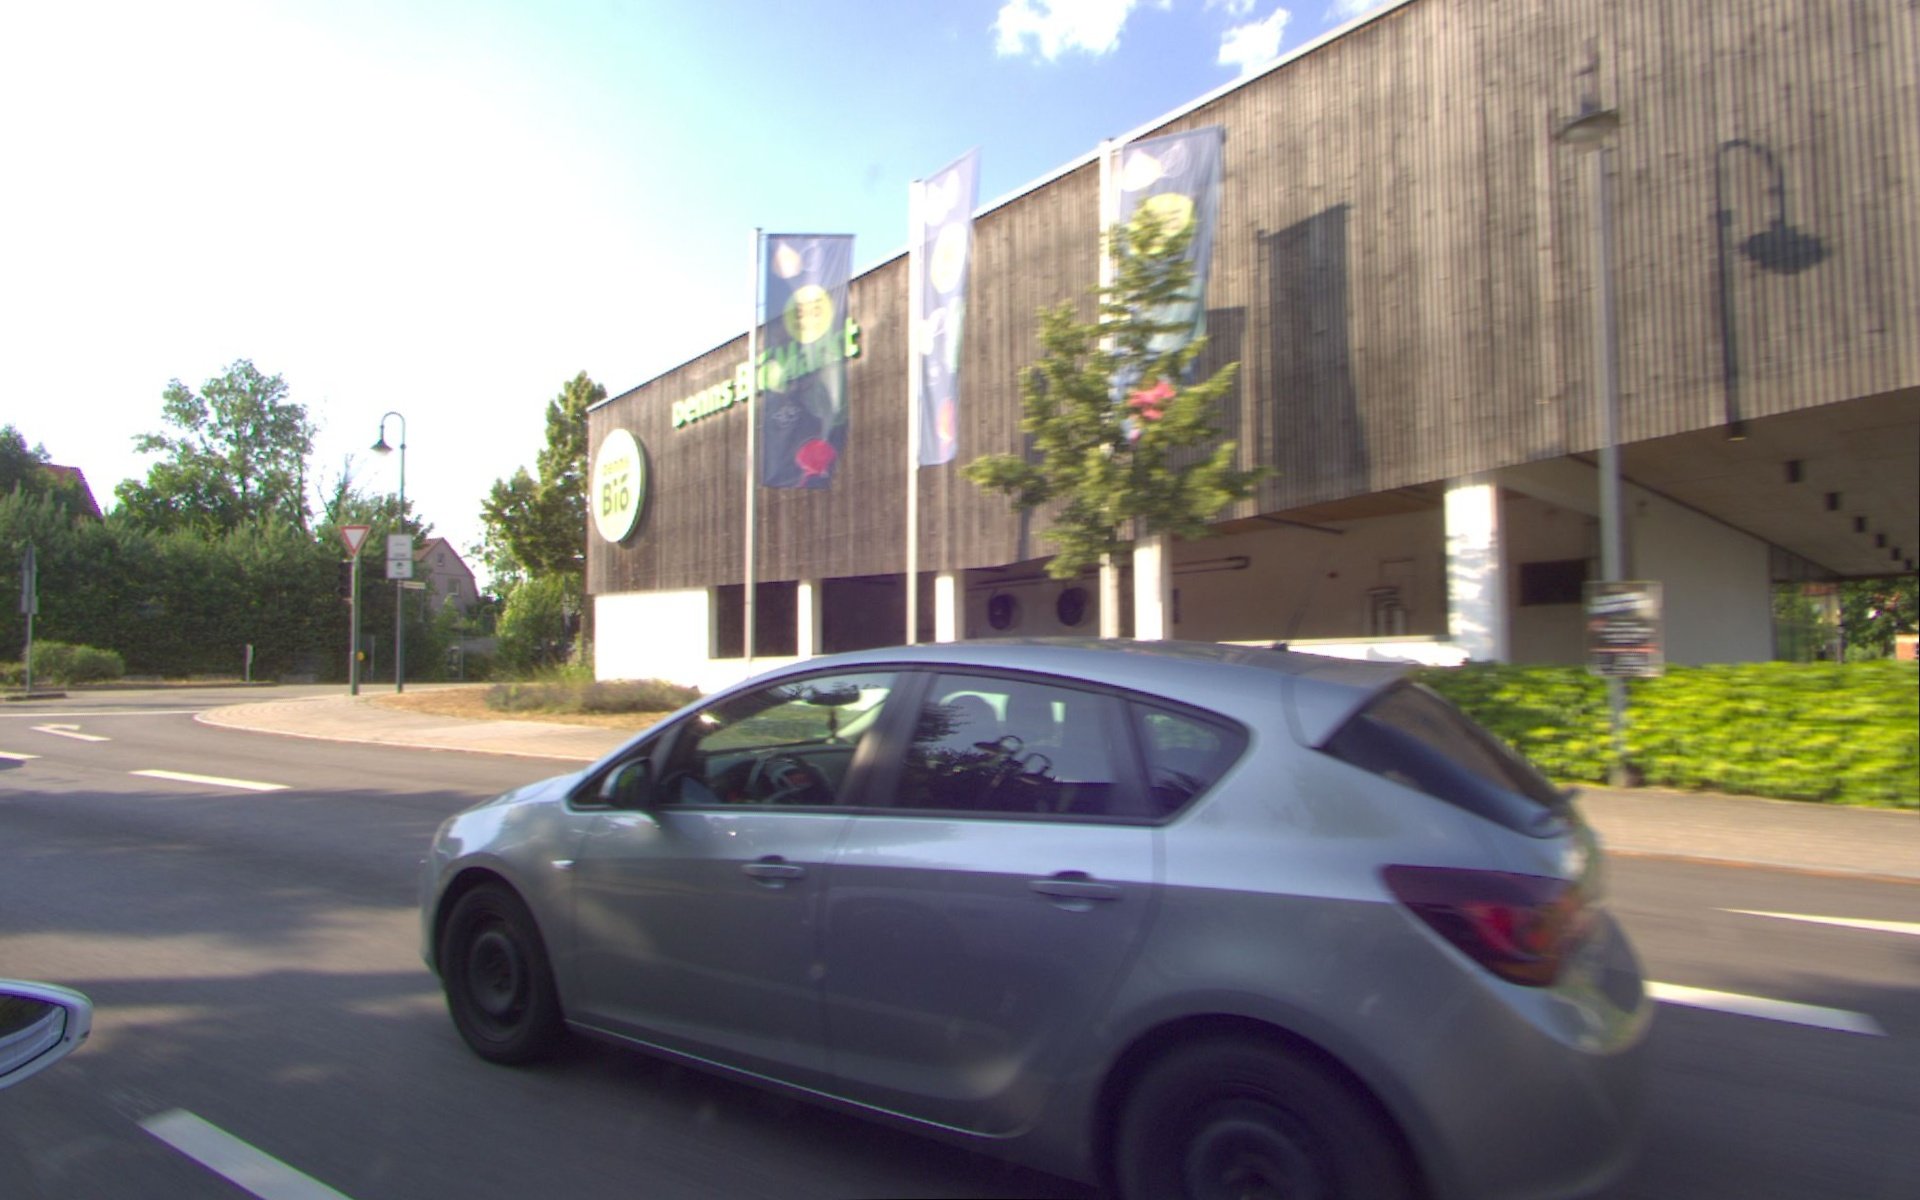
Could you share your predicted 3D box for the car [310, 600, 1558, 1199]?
[{"bbox_3d":[-0.333,0.808,3.591,4.244,1.509,1.718,-1,-2,32],"label":"car"}]
